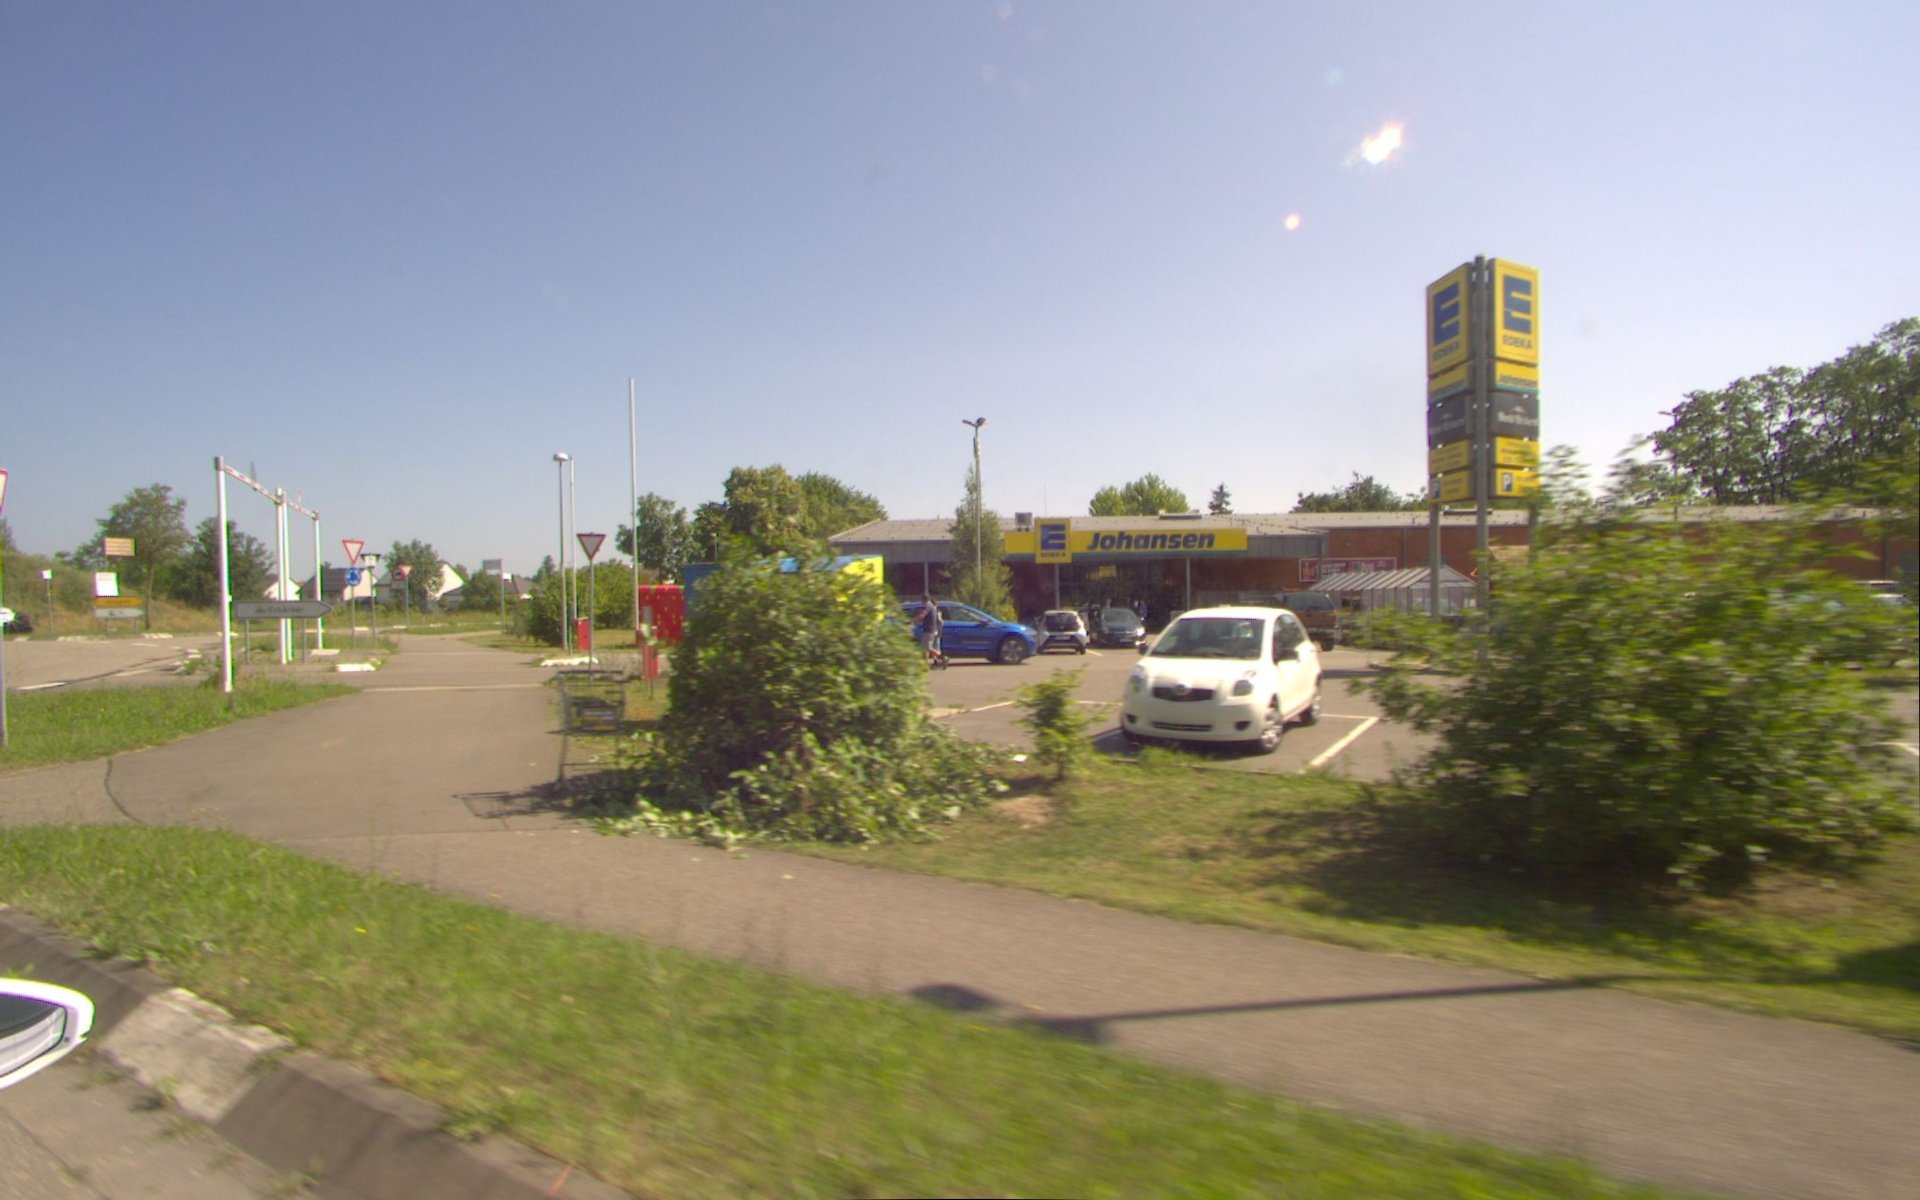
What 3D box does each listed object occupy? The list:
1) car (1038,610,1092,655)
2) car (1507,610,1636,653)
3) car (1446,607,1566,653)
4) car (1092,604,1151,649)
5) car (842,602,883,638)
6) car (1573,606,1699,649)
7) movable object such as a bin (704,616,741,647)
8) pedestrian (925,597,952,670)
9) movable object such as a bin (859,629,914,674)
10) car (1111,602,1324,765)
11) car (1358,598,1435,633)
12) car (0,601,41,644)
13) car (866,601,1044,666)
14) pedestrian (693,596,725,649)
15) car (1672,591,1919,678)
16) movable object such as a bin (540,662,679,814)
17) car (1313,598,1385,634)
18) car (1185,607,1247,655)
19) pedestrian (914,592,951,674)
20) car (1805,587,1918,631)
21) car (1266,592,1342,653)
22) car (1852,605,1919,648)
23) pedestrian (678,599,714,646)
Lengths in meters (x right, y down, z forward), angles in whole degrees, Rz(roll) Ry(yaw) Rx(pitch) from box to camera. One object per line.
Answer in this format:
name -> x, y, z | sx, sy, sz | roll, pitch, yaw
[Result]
car -> 3.660, 1.080, 34.529 | 1.683, 1.477, 3.491 | 0, 0, 9
car -> 20.771, 1.042, 34.246 | 1.961, 1.394, 4.000 | 0, 0, 0
car -> 18.217, 0.951, 33.610 | 1.944, 1.439, 4.000 | 0, 0, 2
car -> 6.219, 0.985, 38.965 | 1.875, 1.644, 4.000 | 0, 0, 4
car -> -4.638, 0.951, 47.842 | 1.793, 1.657, 1.131 | 0, 0, 3
car -> 23.150, 0.902, 34.467 | 1.682, 1.416, 4.000 | 0, 0, 1
movable object such as a bin -> -8.303, 1.084, 34.988 | 1.022, 1.060, 0.767 | 0, 0, 20
pedestrian -> -0.504, 0.767, 23.309 | 0.585, 1.670, 0.703 | 0, 1, -4
movable object such as a bin -> -1.638, 1.135, 22.447 | 1.180, 0.968, 0.880 | 0, 0, -2
car -> 3.253, 0.850, 12.151 | 1.785, 1.583, 3.591 | 0, 1, 27
car -> 21.652, 0.745, 49.815 | 1.961, 1.706, 3.999 | 0, 0, -2
car -> -37.375, 0.845, 36.954 | 1.970, 1.613, 4.753 | 0, 0, 30
car -> -0.172, 0.848, 25.884 | 4.346, 1.592, 1.714 | 0, 0, -12
pedestrian -> -9.070, 0.808, 36.244 | 0.764, 1.896, 0.835 | 1, 1, 39
car -> 16.945, 0.641, 20.500 | 1.629, 1.609, 3.999 | 0, 0, -5
movable object such as a bin -> -3.146, 1.167, 8.912 | 0.859, 1.135, 1.446 | 0, 0, -33
car -> 19.444, 0.768, 50.245 | 1.961, 1.706, 3.999 | 0, 0, -2
car -> 8.586, 0.998, 33.821 | 1.683, 1.517, 3.491 | 0, 0, 9
pedestrian -> -0.626, 0.722, 22.443 | 0.826, 1.809, 0.880 | 0, 1, -3
car -> 43.457, 0.424, 48.390 | 1.961, 2.040, 3.999 | 0, 0, 3
car -> 11.557, 0.722, 33.851 | 1.843, 1.954, 3.491 | 0, 0, 9
car -> 32.796, 0.882, 33.887 | 1.961, 1.372, 3.998 | 0, 0, 7
pedestrian -> -9.297, 0.773, 35.289 | 0.910, 1.640, 0.812 | 0, 1, 23
